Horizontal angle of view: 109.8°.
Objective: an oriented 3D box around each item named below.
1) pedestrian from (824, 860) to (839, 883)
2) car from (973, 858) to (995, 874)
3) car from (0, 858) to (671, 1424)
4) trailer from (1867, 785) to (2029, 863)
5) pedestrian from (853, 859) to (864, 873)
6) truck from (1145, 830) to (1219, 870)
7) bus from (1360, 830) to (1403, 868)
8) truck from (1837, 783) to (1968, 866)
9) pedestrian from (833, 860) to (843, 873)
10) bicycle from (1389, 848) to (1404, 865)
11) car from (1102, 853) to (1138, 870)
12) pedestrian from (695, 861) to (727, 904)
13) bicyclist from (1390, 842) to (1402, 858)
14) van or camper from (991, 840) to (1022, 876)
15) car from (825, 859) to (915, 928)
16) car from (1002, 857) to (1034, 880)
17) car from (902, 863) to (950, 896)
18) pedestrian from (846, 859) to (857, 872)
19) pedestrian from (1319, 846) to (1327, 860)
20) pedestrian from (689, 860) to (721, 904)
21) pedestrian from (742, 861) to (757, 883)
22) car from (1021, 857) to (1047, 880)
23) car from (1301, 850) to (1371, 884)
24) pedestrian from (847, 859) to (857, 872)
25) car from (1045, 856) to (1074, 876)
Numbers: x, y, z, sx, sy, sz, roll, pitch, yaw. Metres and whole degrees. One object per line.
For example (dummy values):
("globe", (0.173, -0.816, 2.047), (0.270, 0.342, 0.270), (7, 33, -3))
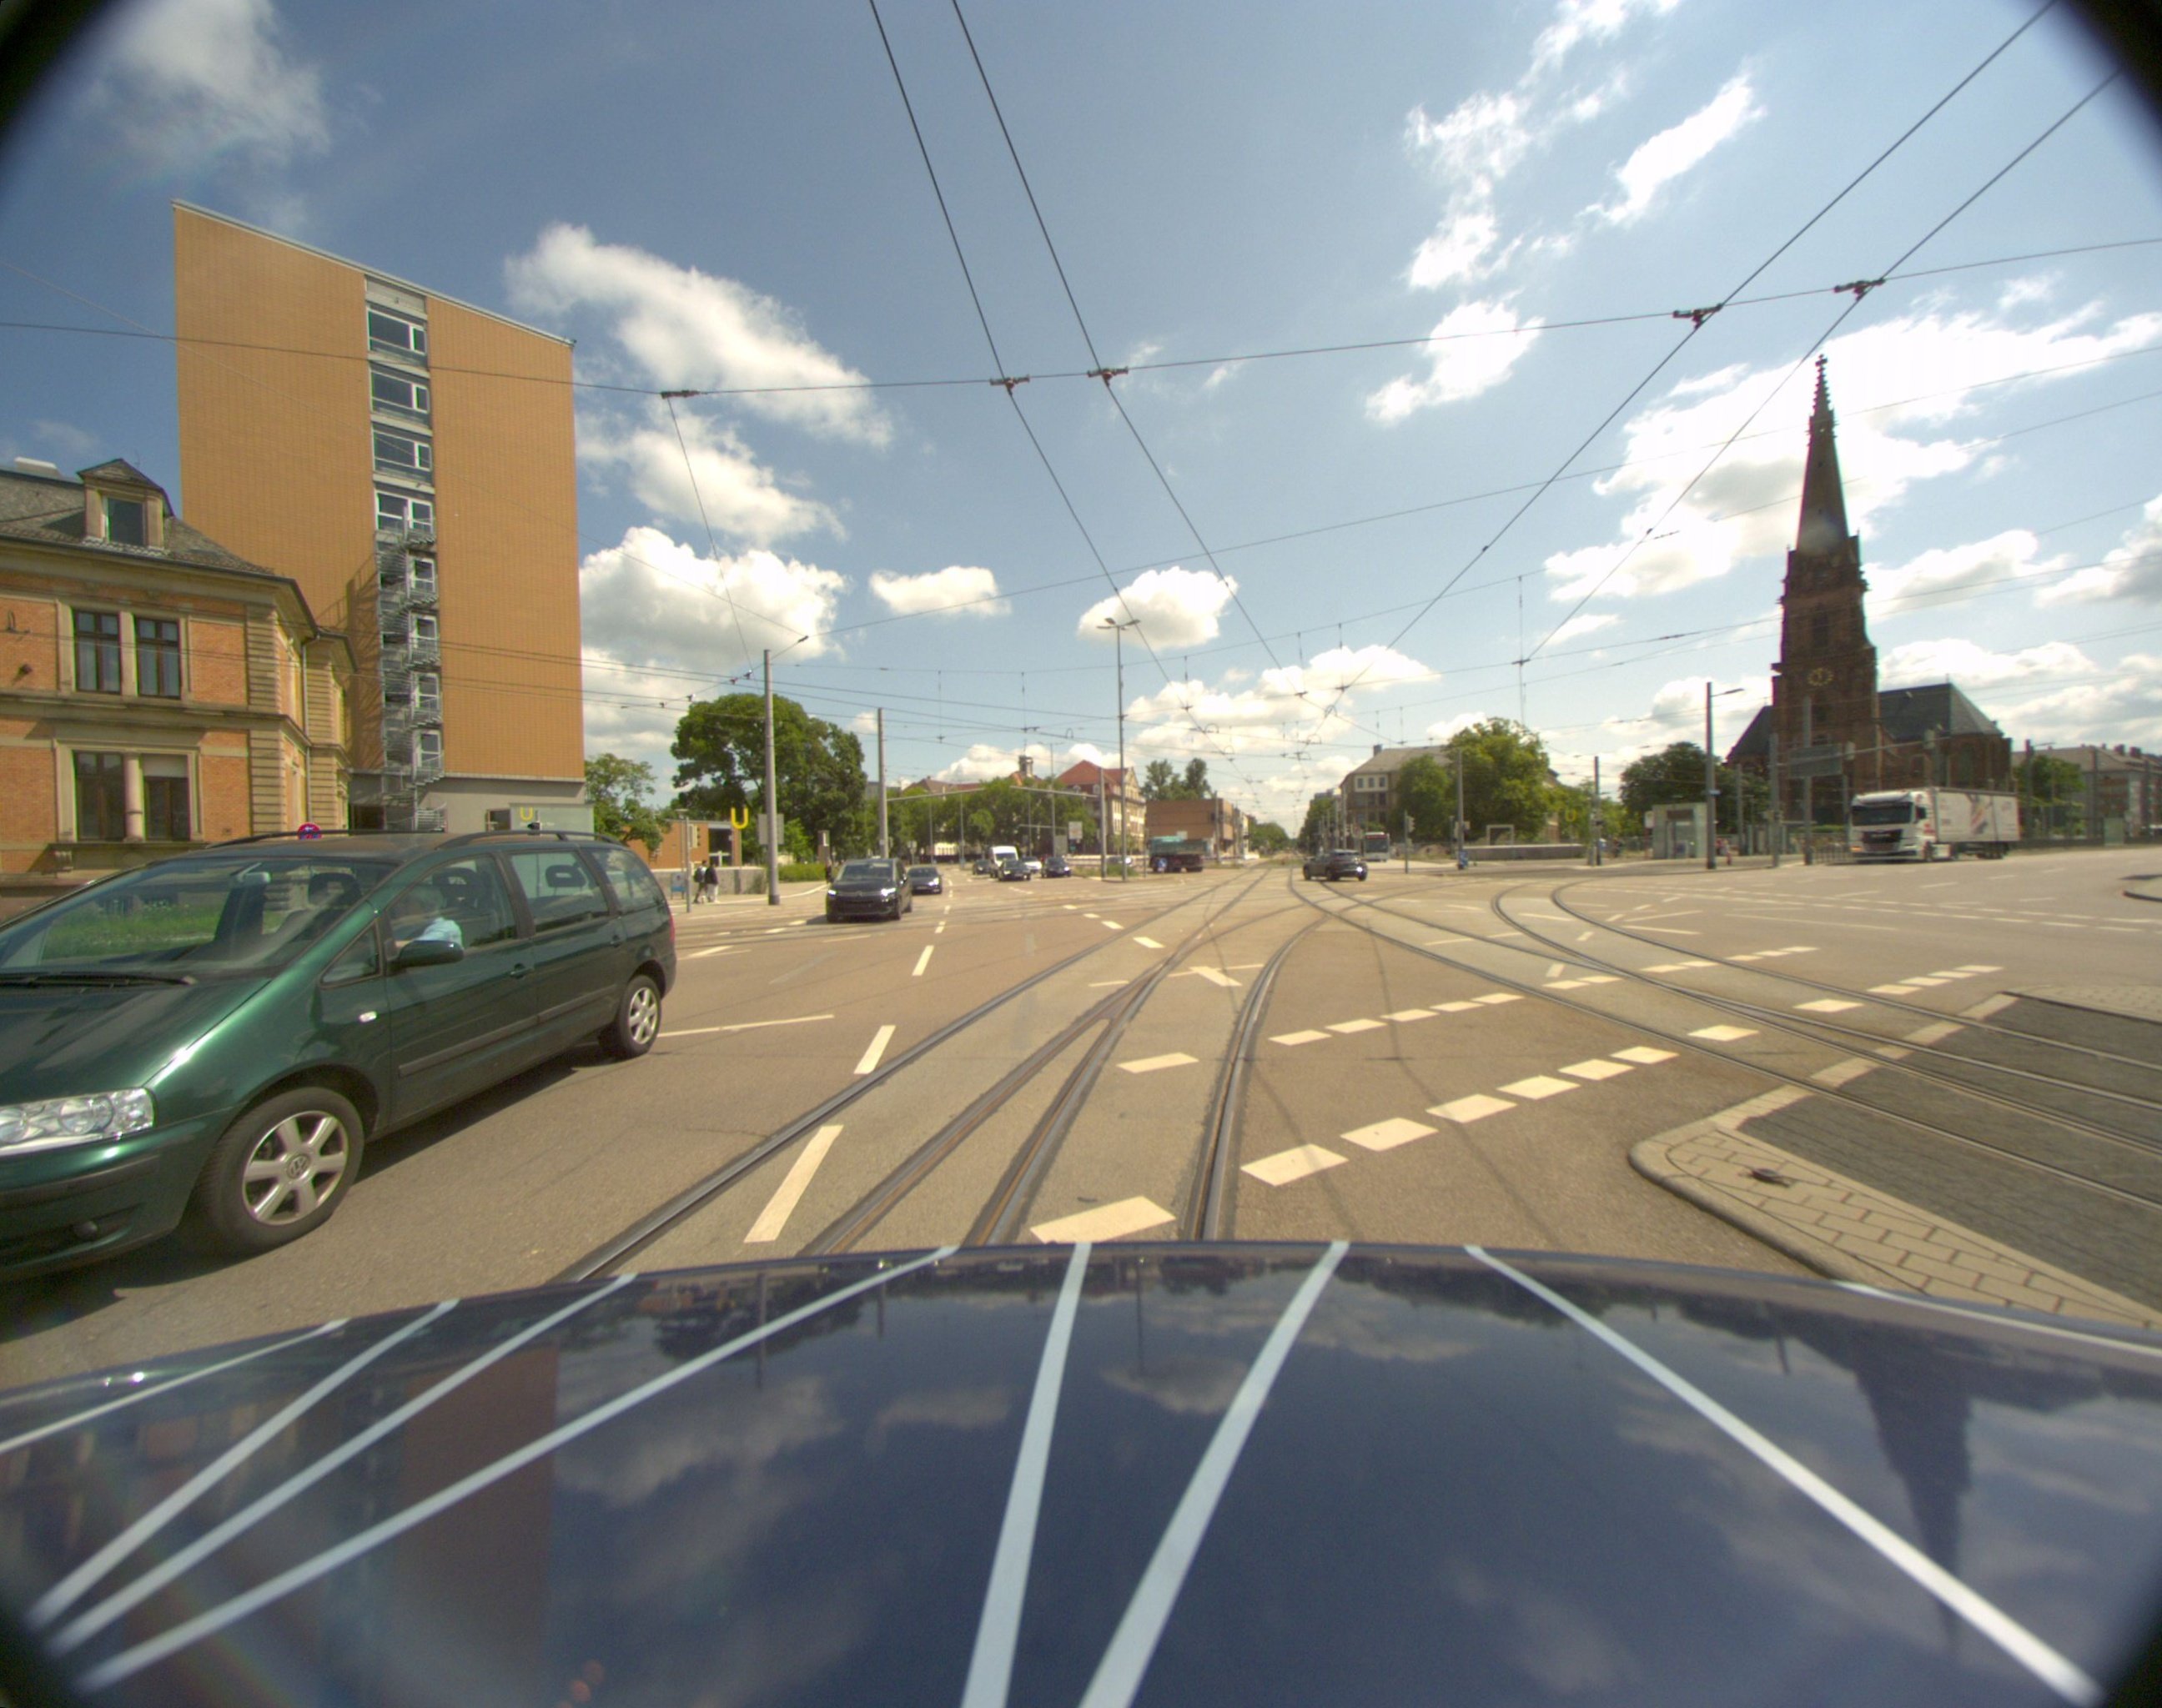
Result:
("pedestrian", (-17.274, 1.213, 52.693), (0.830, 1.576, 0.767), (-1, 0, -7))
("car", (-9.567, 1.188, 74.592), (1.782, 1.565, 3.957), (-1, -1, -13))
("car", (-4.226, 0.899, 4.280), (1.820, 1.707, 4.083), (-1, 0, -4))
("trailer", (50.135, -1.712, 43.785), (13.437, 4.053, 2.942), (-1, 1, -27))
("pedestrian", (-28.475, 1.542, 97.265), (1.153, 1.679, 1.309), (-1, 0, -20))
("truck", (8.070, -0.236, 62.148), (3.357, 2.980, 8.726), (-1, -1, -12))
("bus", (29.313, -0.461, 74.342), (2.946, 3.427, 7.957), (-1, 0, 15))
("truck", (44.001, -1.529, 40.662), (6.888, 4.095, 2.957), (-2, 1, -27))
("pedestrian", (-31.953, 1.666, 99.836), (1.153, 1.679, 1.309), (-1, 0, -20))
("bicycle", (40.126, 0.321, 96.688), (1.246, 2.002, 3.488), (-1, 0, 13))
("car", (3.321, 0.679, 64.977), (1.855, 1.406, 4.335), (0, -1, -14))
("pedestrian", (-15.369, 1.170, 31.569), (1.029, 1.710, 0.726), (-2, 1, -37))
("bicyclist", (40.085, -0.501, 96.645), (1.124, 2.002, 1.321), (0, 1, 13))
("van or camper", (-6.109, 0.319, 61.825), (2.233, 2.719, 5.517), (-1, 0, -9))
("car", (-5.580, 0.965, 20.574), (1.874, 1.607, 4.423), (0, 0, -9))
("car", (-4.405, 0.951, 52.574), (1.902, 1.455, 4.257), (-2, 0, -9))
("car", (-7.874, 1.266, 38.968), (1.874, 1.477, 4.424), (-1, 1, -5))
("pedestrian", (-28.787, 1.441, 95.360), (1.153, 1.679, 1.309), (-1, 0, -20))
("pedestrian", (31.088, -0.103, 97.744), (0.910, 1.812, 1.022), (0, 1, 13))
("pedestrian", (-15.891, 1.154, 32.104), (1.029, 1.802, 0.726), (-2, 1, -37))
("pedestrian", (-24.374, 1.317, 55.848), (0.830, 1.616, 0.767), (-1, 0, -7))
("car", (-4.182, 1.260, 67.338), (1.816, 2.002, 3.997), (-1, 0, -9))
("car", (12.518, 0.581, 37.584), (1.815, 1.551, 4.105), (0, 1, -5))
("pedestrian", (-30.210, 1.528, 100.412), (1.153, 1.679, 1.309), (-1, 0, -20))
("car", (-1.597, 0.868, 55.199), (1.672, 1.368, 3.913), (-1, -1, -7))
